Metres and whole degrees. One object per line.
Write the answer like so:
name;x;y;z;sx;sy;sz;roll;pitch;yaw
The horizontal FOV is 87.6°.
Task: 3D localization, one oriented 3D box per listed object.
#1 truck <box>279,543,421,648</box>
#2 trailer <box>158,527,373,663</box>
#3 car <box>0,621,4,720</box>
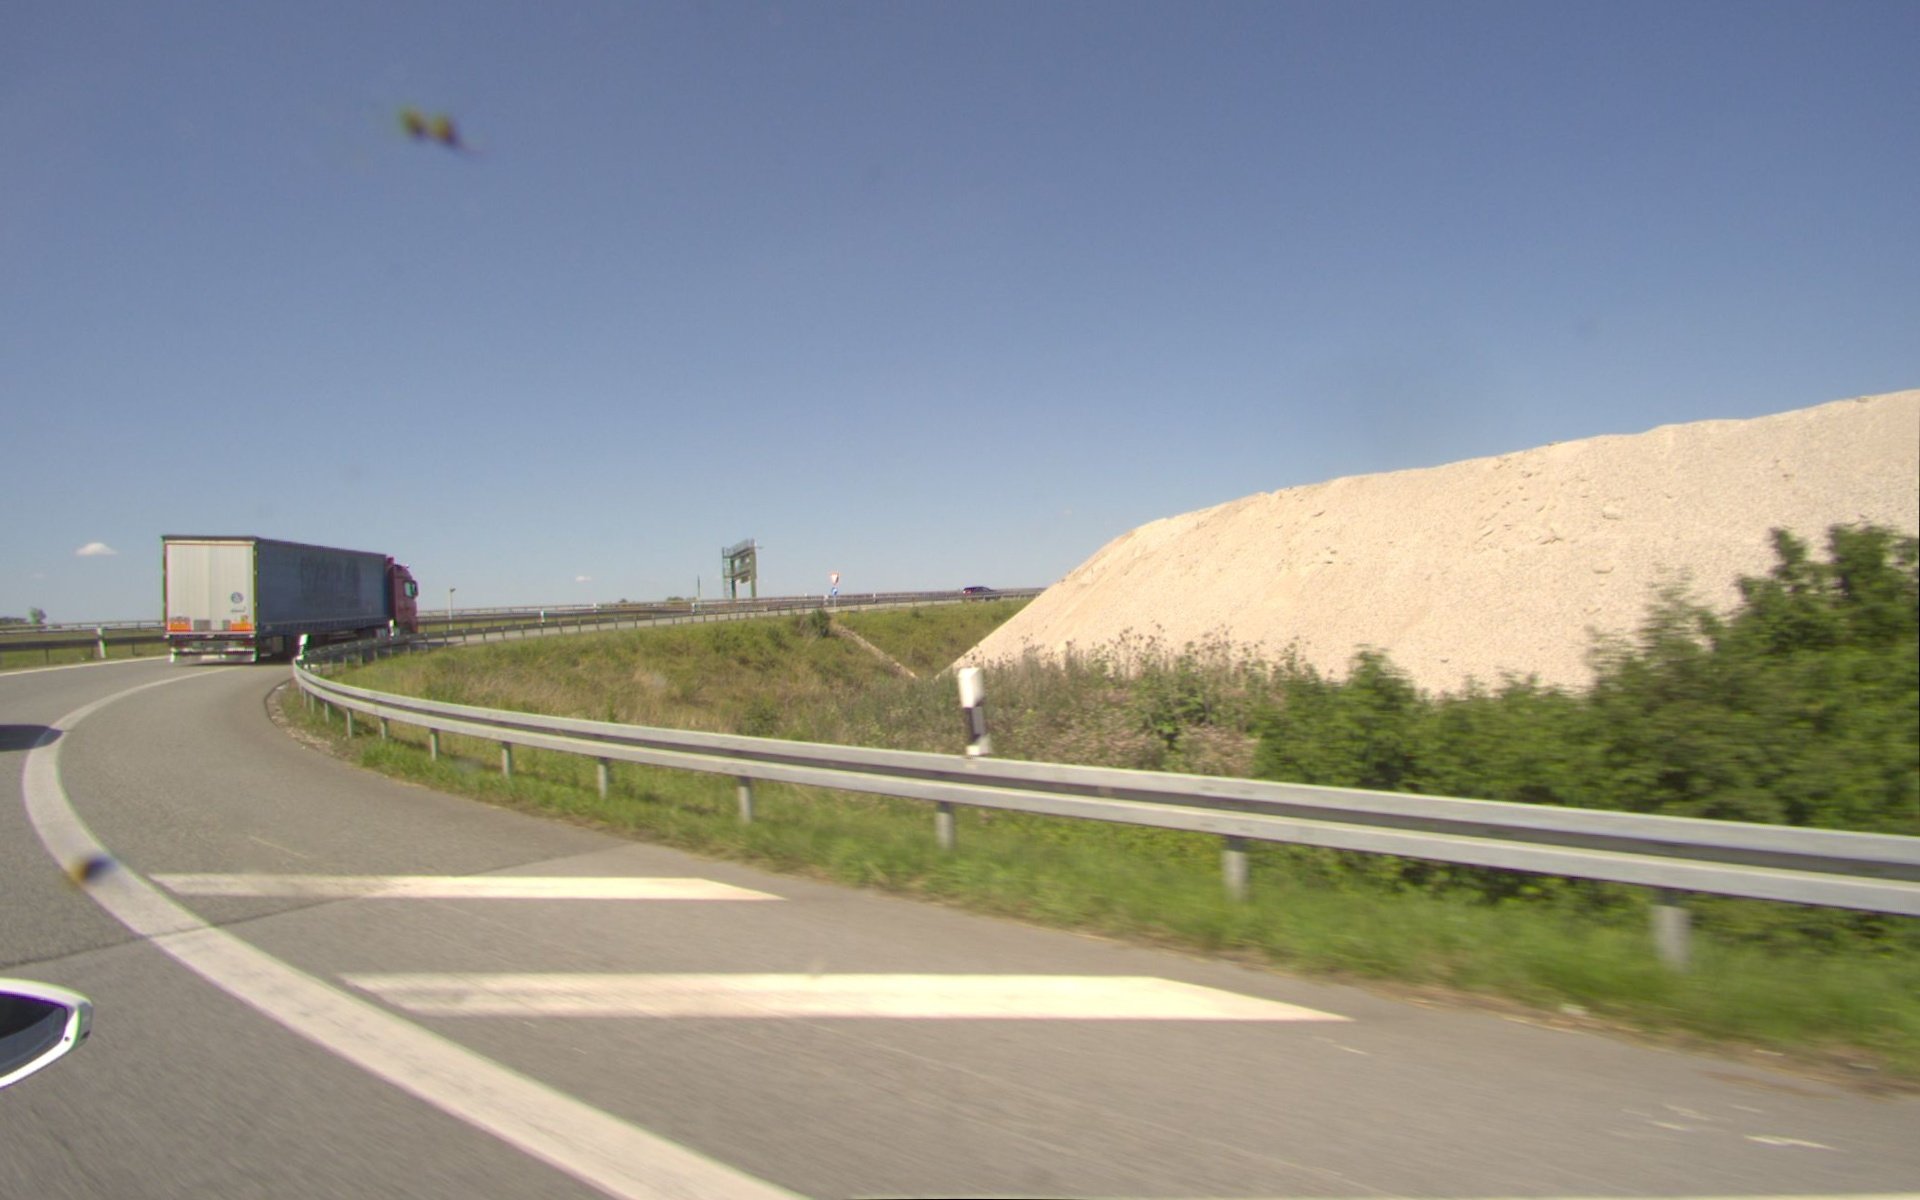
truck;-26.554;-0.180;44.025;2.867;4.200;6.920;-1;0;-10
trailer;-24.890;-0.145;36.775;2.869;4.200;11.238;-1;0;-16
car;-13.937;1.020;13.071;1.840;1.462;4.334;1;-1;-40
